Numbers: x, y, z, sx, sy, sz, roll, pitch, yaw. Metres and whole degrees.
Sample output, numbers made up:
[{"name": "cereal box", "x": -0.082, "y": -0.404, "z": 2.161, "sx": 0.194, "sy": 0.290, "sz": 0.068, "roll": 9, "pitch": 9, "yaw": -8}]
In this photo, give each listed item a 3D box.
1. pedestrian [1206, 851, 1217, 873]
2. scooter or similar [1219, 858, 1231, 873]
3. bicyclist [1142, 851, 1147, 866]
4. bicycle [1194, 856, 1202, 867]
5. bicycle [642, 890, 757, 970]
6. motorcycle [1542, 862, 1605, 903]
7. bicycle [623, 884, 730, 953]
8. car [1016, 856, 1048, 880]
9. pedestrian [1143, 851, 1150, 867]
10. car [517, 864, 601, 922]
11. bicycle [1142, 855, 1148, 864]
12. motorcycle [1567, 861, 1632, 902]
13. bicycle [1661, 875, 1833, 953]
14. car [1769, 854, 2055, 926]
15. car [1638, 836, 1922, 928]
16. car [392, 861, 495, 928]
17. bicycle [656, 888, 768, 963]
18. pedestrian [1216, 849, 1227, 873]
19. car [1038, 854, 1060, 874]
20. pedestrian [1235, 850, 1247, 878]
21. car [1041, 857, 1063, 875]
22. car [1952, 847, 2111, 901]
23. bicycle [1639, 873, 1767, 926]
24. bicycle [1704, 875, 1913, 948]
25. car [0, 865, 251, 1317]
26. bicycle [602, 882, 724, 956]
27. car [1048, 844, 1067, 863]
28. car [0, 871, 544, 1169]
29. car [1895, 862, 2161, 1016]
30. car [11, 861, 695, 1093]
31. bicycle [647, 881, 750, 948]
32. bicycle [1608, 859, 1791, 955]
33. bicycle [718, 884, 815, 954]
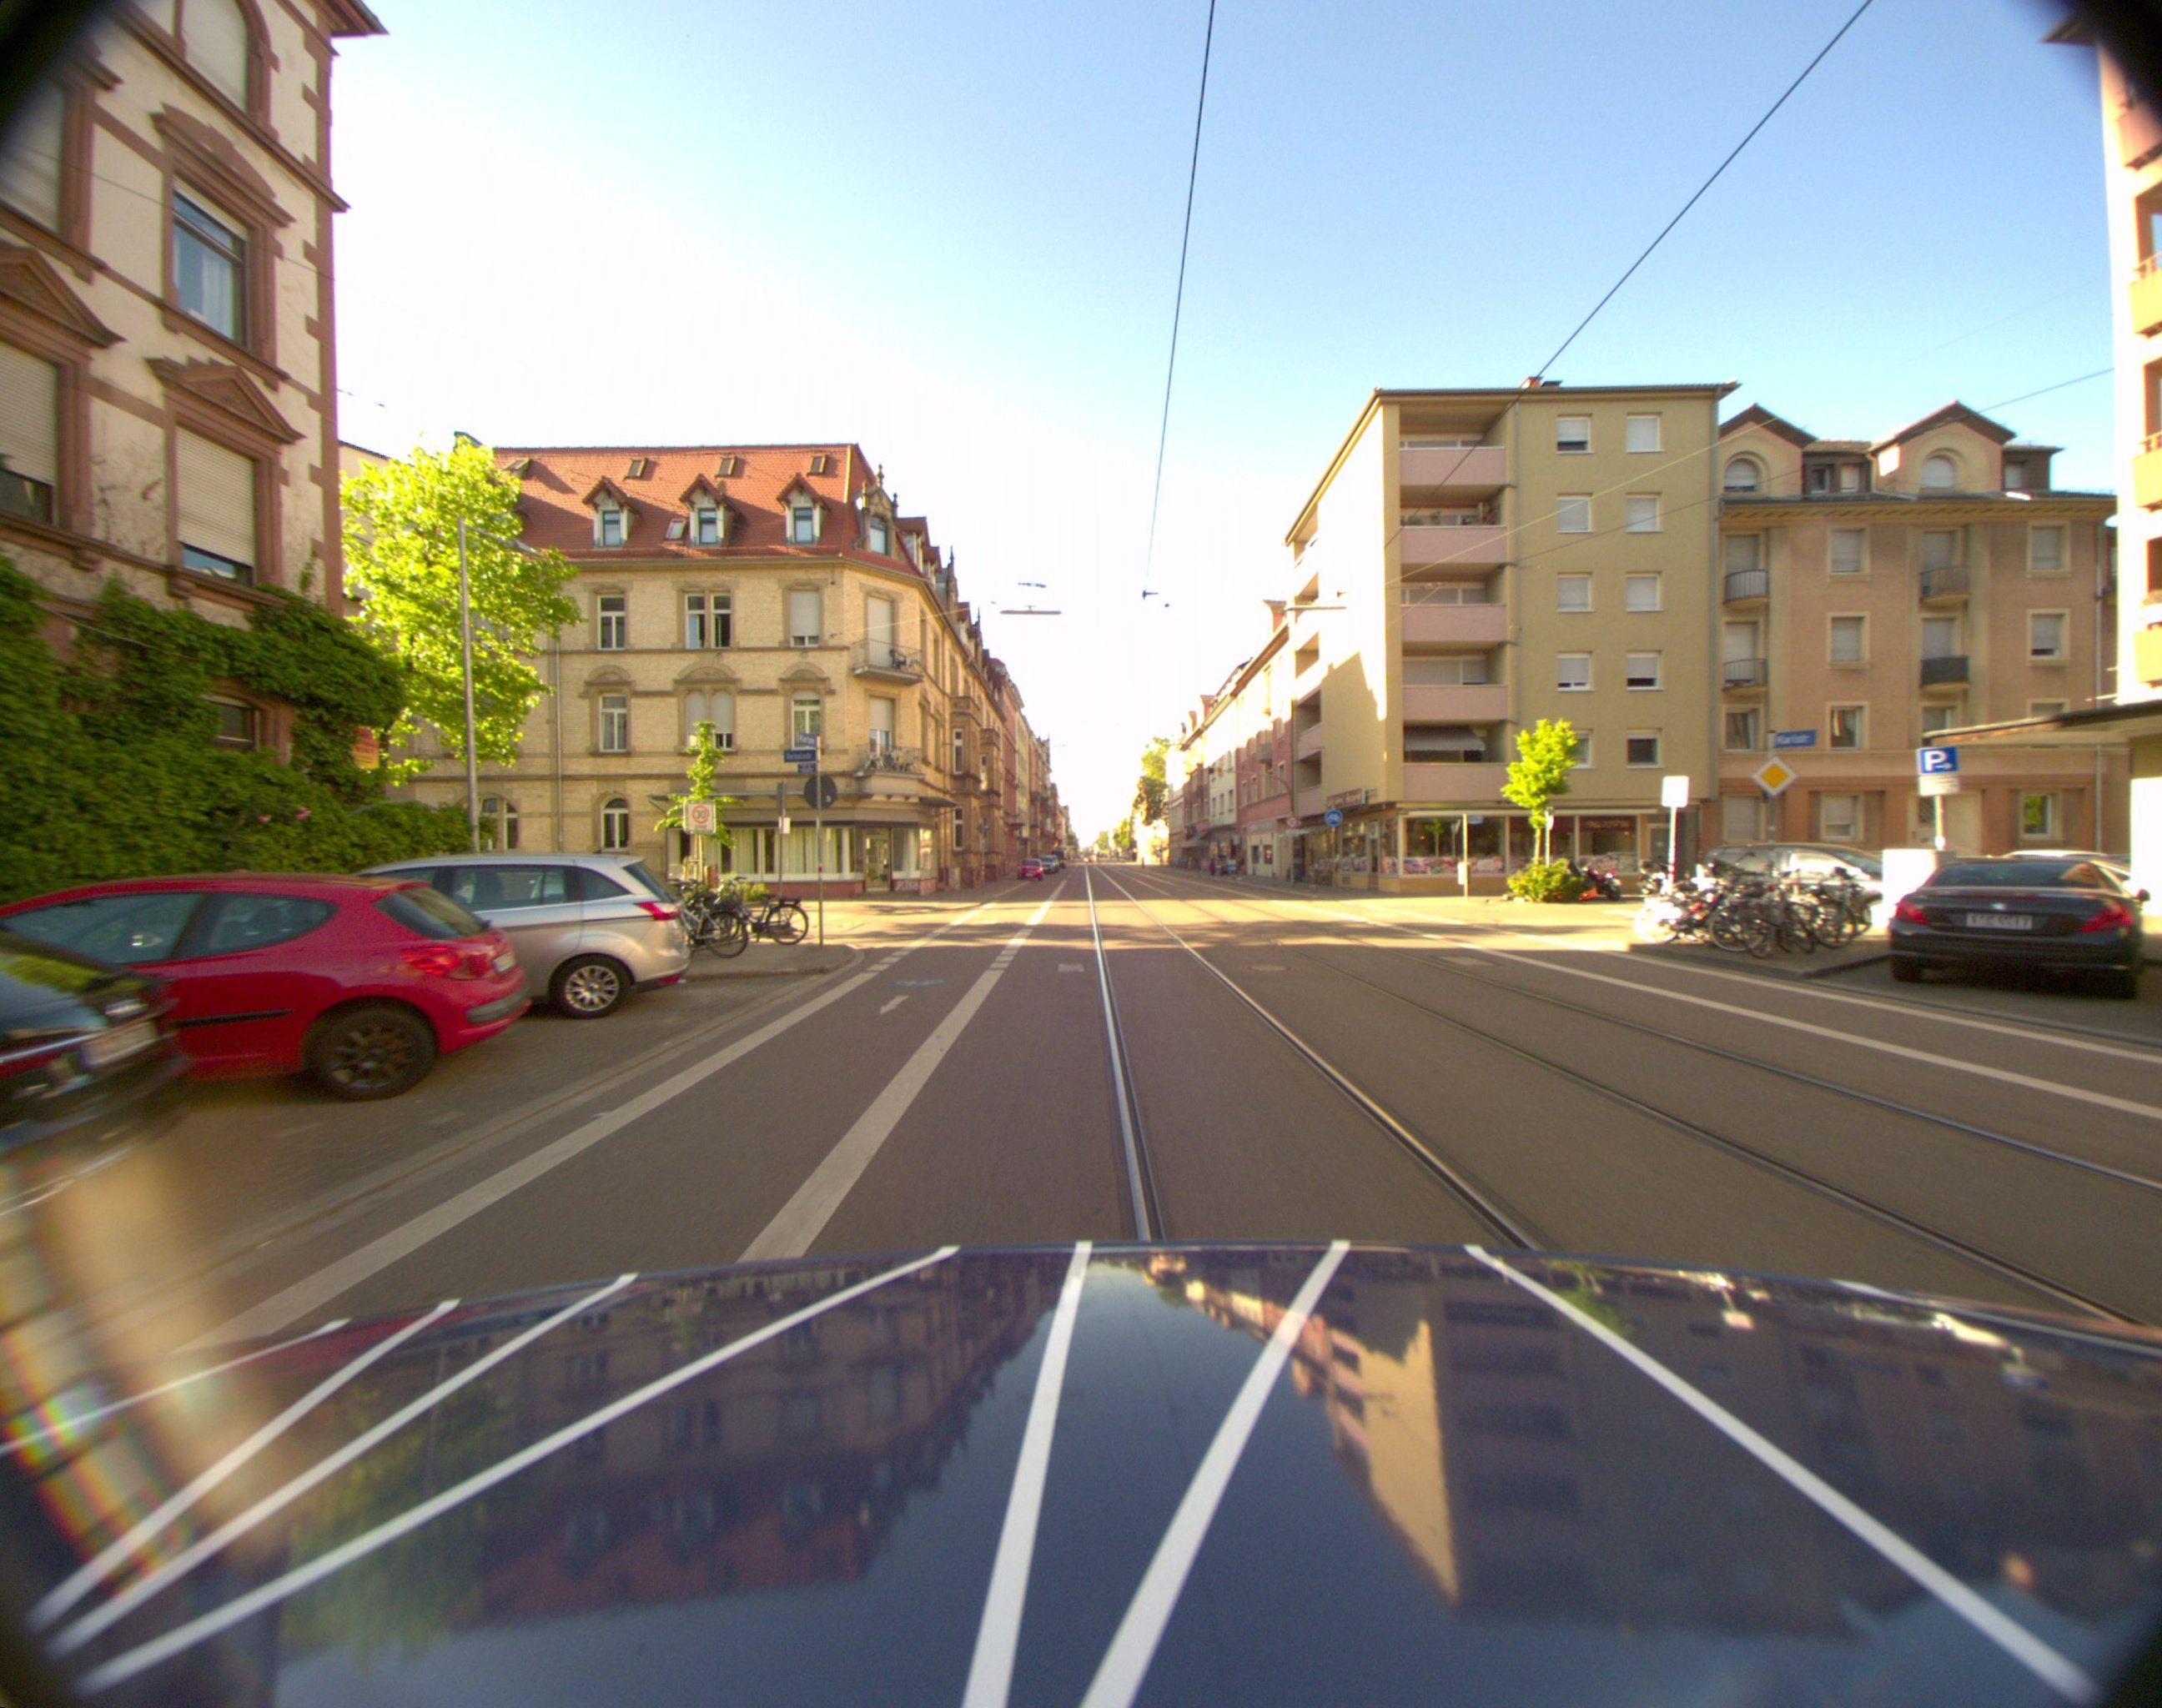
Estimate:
[{"name": "pedestrian", "x": 9.499, "y": 0.584, "z": 55.361, "sx": 0.637, "sy": 1.540, "sz": 0.623, "roll": -1, "pitch": 1, "yaw": 0}, {"name": "scooter or similar", "x": 10.288, "y": 0.849, "z": 54.436, "sx": 0.663, "sy": 1.055, "sz": 1.105, "roll": -1, "pitch": 0, "yaw": 1}, {"name": "bicyclist", "x": 8.293, "y": 0.555, "z": 99.128, "sx": 0.613, "sy": 2.002, "sz": 0.733, "roll": -1, "pitch": 1, "yaw": 1}, {"name": "bicycle", "x": 11.708, "y": 0.716, "z": 75.992, "sx": 0.425, "sy": 1.053, "sz": 2.329, "roll": -1, "pitch": 1, "yaw": 0}, {"name": "bicycle", "x": -5.539, "y": 1.098, "z": 11.046, "sx": 1.563, "sy": 1.120, "sz": 0.295, "roll": -1, "pitch": 1, "yaw": 7}, {"name": "motorcycle", "x": 15.834, "y": 0.898, "z": 24.485, "sx": 0.621, "sy": 1.202, "sz": 2.176, "roll": -1, "pitch": 1, "yaw": 1}, {"name": "bicycle", "x": -6.876, "y": 1.091, "z": 12.937, "sx": 1.559, "sy": 1.120, "sz": 0.528, "roll": -1, "pitch": 1, "yaw": 7}, {"name": "car", "x": -3.403, "y": 0.921, "z": 53.067, "sx": 1.870, "sy": 1.474, "sz": 4.400, "roll": 2, "pitch": 1, "yaw": 0}, {"name": "pedestrian", "x": 8.630, "y": 0.661, "z": 100.059, "sx": 0.887, "sy": 2.002, "sz": 0.982, "roll": -1, "pitch": 1, "yaw": -1}, {"name": "car", "x": -15.725, "y": 1.103, "z": 23.055, "sx": 1.775, "sy": 1.523, "sz": 3.523, "roll": -2, "pitch": 1, "yaw": -30}, {"name": "bicycle", "x": 8.297, "y": 0.724, "z": 99.131, "sx": 0.603, "sy": 1.089, "sz": 2.044, "roll": 1, "pitch": 1, "yaw": 1}, {"name": "motorcycle", "x": 16.627, "y": 0.854, "z": 24.418, "sx": 0.621, "sy": 1.202, "sz": 2.176, "roll": -1, "pitch": 1, "yaw": 1}, {"name": "bicycle", "x": 10.461, "y": 0.911, "z": 12.018, "sx": 0.685, "sy": 1.116, "sz": 1.883, "roll": -1, "pitch": -2, "yaw": -30}, {"name": "car", "x": 18.532, "y": 0.823, "z": 17.162, "sx": 1.852, "sy": 1.383, "sz": 3.992, "roll": -1, "pitch": -3, "yaw": -30}, {"name": "car", "x": 15.547, "y": 0.689, "z": 17.252, "sx": 1.851, "sy": 1.805, "sz": 4.352, "roll": 2, "pitch": -4, "yaw": -20}, {"name": "car", "x": -19.521, "y": 1.163, "z": 23.433, "sx": 1.775, "sy": 1.819, "sz": 3.730, "roll": -2, "pitch": 1, "yaw": -30}, {"name": "bicycle", "x": -5.541, "y": 1.074, "z": 11.413, "sx": 1.559, "sy": 1.073, "sz": 0.307, "roll": -1, "pitch": 1, "yaw": 7}, {"name": "pedestrian", "x": 10.254, "y": 0.512, "z": 55.487, "sx": 0.627, "sy": 1.779, "sz": 0.821, "roll": -1, "pitch": 1, "yaw": 0}, {"name": "car", "x": -3.048, "y": 0.907, "z": 71.111, "sx": 1.871, "sy": 1.637, "sz": 4.399, "roll": 3, "pitch": 0, "yaw": -4}, {"name": "pedestrian", "x": 9.850, "y": 0.617, "z": 46.830, "sx": 0.564, "sy": 1.676, "sz": 0.616, "roll": -1, "pitch": 1, "yaw": -1}, {"name": "car", "x": -2.926, "y": 1.170, "z": 76.829, "sx": 1.998, "sy": 1.606, "sz": 4.785, "roll": 2, "pitch": 1, "yaw": 0}, {"name": "car", "x": 29.873, "y": 0.592, "z": 23.908, "sx": 3.872, "sy": 1.502, "sz": 1.793, "roll": -2, "pitch": 1, "yaw": -16}, {"name": "bicycle", "x": 13.981, "y": 1.004, "z": 17.204, "sx": 0.683, "sy": 1.102, "sz": 2.435, "roll": -1, "pitch": -2, "yaw": -6}, {"name": "bicycle", "x": 11.973, "y": 0.929, "z": 12.645, "sx": 2.429, "sy": 1.102, "sz": 0.685, "roll": -3, "pitch": -2, "yaw": 41}, {"name": "car", "x": -6.066, "y": 0.907, "z": 2.182, "sx": 4.454, "sy": 1.587, "sz": 2.084, "roll": -2, "pitch": 1, "yaw": -24}, {"name": "bicycle", "x": -6.743, "y": 1.047, "z": 12.284, "sx": 1.678, "sy": 1.120, "sz": 0.552, "roll": -1, "pitch": 1, "yaw": 7}, {"name": "car", "x": -3.147, "y": -0.129, "z": 103.679, "sx": 2.128, "sy": 2.478, "sz": 5.856, "roll": -1, "pitch": 1, "yaw": 2}, {"name": "car", "x": -6.242, "y": 0.962, "z": 5.055, "sx": 4.004, "sy": 1.528, "sz": 1.914, "roll": -2, "pitch": 1, "yaw": -24}, {"name": "car", "x": 10.935, "y": 0.809, "z": 8.722, "sx": 3.477, "sy": 1.330, "sz": 1.620, "roll": -2, "pitch": 1, "yaw": -33}, {"name": "car", "x": -6.289, "y": 0.937, "z": 7.383, "sx": 4.371, "sy": 1.587, "sz": 1.850, "roll": -2, "pitch": 1, "yaw": -24}, {"name": "bicycle", "x": -6.801, "y": 1.069, "z": 13.540, "sx": 1.559, "sy": 1.120, "sz": 0.552, "roll": -1, "pitch": 1, "yaw": 7}, {"name": "bicycle", "x": 9.370, "y": 0.770, "z": 11.695, "sx": 0.683, "sy": 1.311, "sz": 2.435, "roll": -1, "pitch": -2, "yaw": -3}, {"name": "bicycle", "x": -5.367, "y": 1.102, "z": 13.014, "sx": 1.400, "sy": 1.120, "sz": 0.551, "roll": -1, "pitch": 1, "yaw": 0}]
